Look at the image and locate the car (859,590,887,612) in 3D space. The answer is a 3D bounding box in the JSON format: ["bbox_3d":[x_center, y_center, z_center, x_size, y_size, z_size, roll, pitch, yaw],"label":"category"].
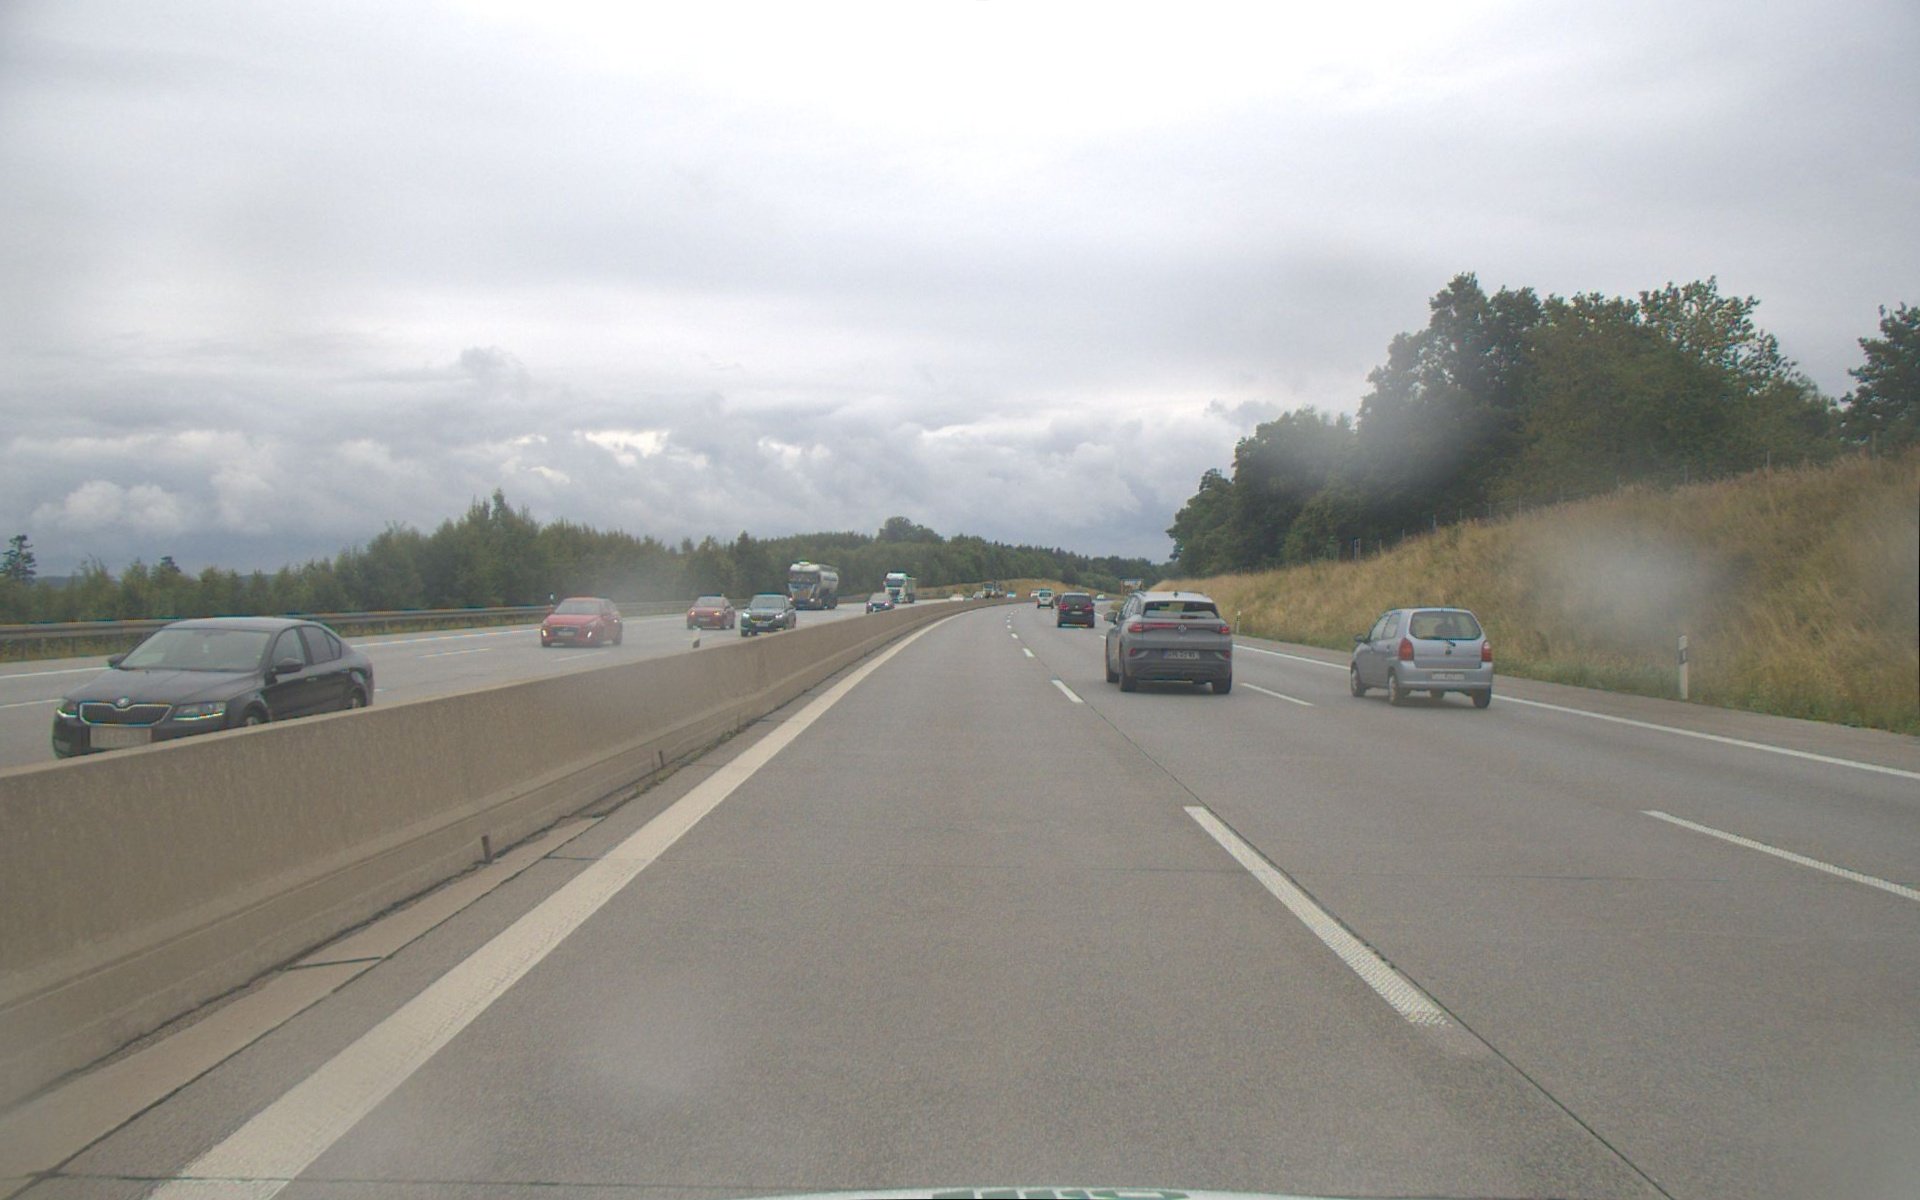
[{"bbox_3d":[-6.302,0.080,120.286,1.755,1.441,4.343,1,1,0],"label":"car"}]

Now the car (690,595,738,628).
[{"bbox_3d":[-11.042,0.502,74.511,1.487,1.417,4.487,1,0,0],"label":"car"}]

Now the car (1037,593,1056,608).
[{"bbox_3d":[9.745,0.025,186.428,1.802,1.526,4.004,-2,1,6],"label":"car"}]

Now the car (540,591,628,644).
[{"bbox_3d":[-11.534,0.559,51.003,1.682,1.534,4.486,0,-1,0],"label":"car"}]

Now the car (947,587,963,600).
[{"bbox_3d":[-0.696,-0.888,217.286,1.952,1.466,4.768,2,1,1],"label":"car"}]

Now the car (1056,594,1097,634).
[{"bbox_3d":[5.796,0.684,82.467,1.748,1.777,3.916,-2,1,1],"label":"car"}]

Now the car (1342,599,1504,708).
[{"bbox_3d":[7.101,0.773,25.657,1.455,1.496,3.504,1,1,-1],"label":"car"}]

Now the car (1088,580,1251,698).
[{"bbox_3d":[3.481,0.574,28.438,1.860,1.719,5.264,-2,1,-3],"label":"car"}]

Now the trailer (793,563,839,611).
[{"bbox_3d":[-12.779,-1.238,147.673,2.702,4.068,12.292,1,1,1],"label":"trailer"}]

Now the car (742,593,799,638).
[{"bbox_3d":[-7.524,0.570,65.953,1.687,1.615,4.972,0,1,0],"label":"car"}]

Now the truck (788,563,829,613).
[{"bbox_3d":[-12.879,-1.066,140.900,2.690,4.068,6.931,1,1,0],"label":"truck"}]

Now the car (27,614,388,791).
[{"bbox_3d":[-7.511,0.939,17.038,1.736,1.381,4.366,-2,1,-1],"label":"car"}]

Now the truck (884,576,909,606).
[{"bbox_3d":[-8.223,-1.125,215.151,2.693,3.868,5.532,1,0,3],"label":"truck"}]

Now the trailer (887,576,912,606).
[{"bbox_3d":[-8.012,-1.166,220.230,2.692,3.866,9.319,1,0,2],"label":"trailer"}]
